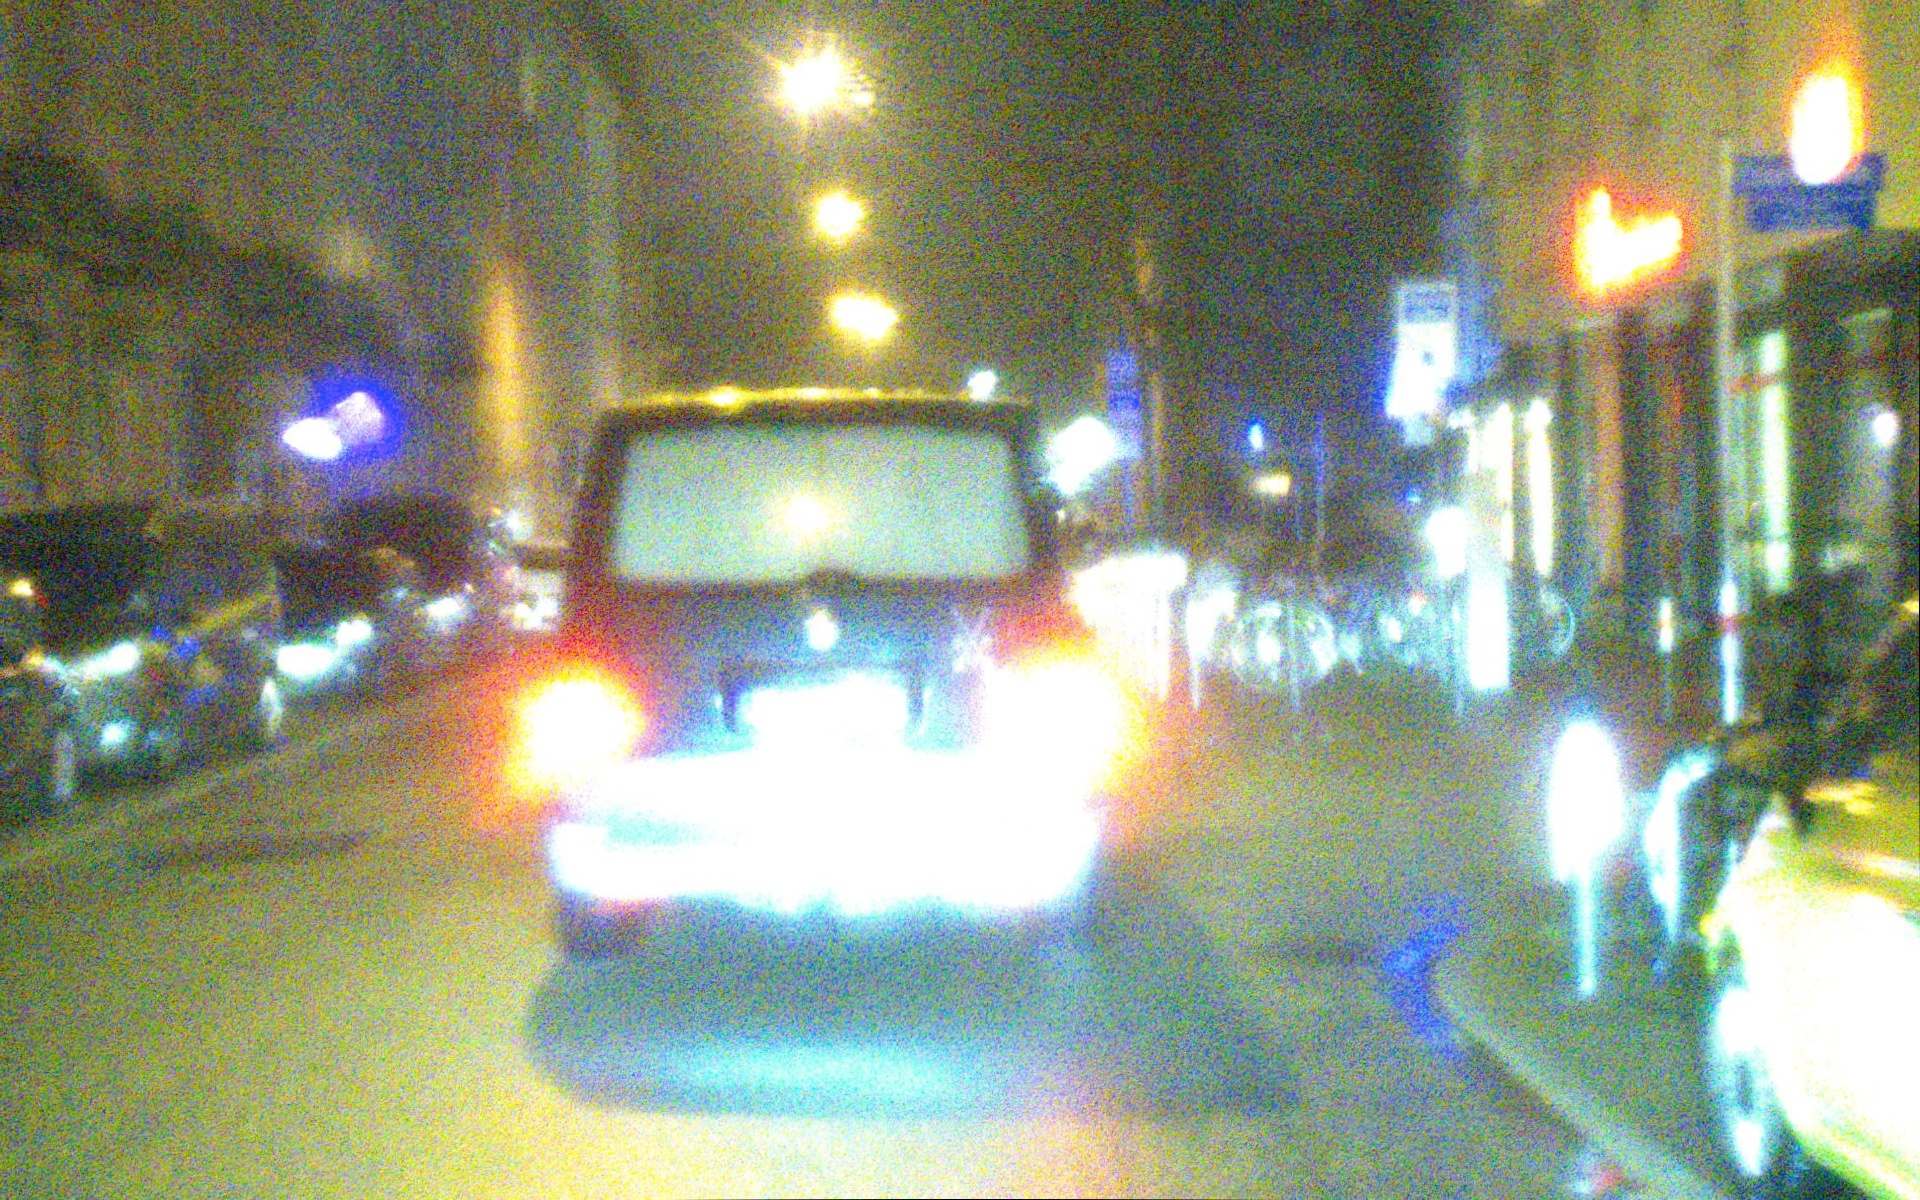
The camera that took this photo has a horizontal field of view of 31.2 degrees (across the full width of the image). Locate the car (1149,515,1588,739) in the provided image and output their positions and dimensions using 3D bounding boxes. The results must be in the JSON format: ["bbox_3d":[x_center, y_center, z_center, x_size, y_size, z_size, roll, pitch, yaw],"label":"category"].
[{"bbox_3d":[3.929,0.257,33.613,3.987,2.007,2.000,-2,0,0],"label":"car"}]

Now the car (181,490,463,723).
[{"bbox_3d":[-5.856,0.031,32.003,1.993,2.007,4.000,1,1,-2],"label":"car"}]

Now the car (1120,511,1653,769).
[{"bbox_3d":[3.610,0.320,29.332,3.986,2.007,2.000,-2,0,-17],"label":"car"}]

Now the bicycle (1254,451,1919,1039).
[{"bbox_3d":[2.180,0.427,10.723,2.321,1.633,0.888,-5,0,10],"label":"bicycle"}]

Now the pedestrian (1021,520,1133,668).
[{"bbox_3d":[1.352,-0.068,39.991,1.226,1.670,0.697,-2,0,0],"label":"pedestrian"}]

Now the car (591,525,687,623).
[{"bbox_3d":[-6.821,-0.563,73.313,1.749,2.007,4.000,1,1,-1],"label":"car"}]

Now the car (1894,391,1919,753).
[{"bbox_3d":[7.570,-0.143,17.822,4.809,1.915,2.130,0,1,-8],"label":"car"}]

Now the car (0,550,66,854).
[{"bbox_3d":[-5.537,0.483,15.665,1.993,1.444,4.000,1,1,-2],"label":"car"}]

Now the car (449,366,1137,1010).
[{"bbox_3d":[-0.637,0.221,13.013,2.122,1.984,4.601,-1,1,-3],"label":"car"}]

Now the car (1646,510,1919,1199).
[{"bbox_3d":[2.398,0.617,6.230,1.592,1.538,3.420,0,0,-1],"label":"car"}]

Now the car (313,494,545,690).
[{"bbox_3d":[-5.762,-0.108,37.748,1.993,2.007,4.000,1,1,-1],"label":"car"}]

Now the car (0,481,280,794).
[{"bbox_3d":[-5.791,0.189,22.551,1.993,1.856,4.095,1,1,-3],"label":"car"}]

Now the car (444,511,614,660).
[{"bbox_3d":[-6.111,-0.226,49.153,1.993,2.007,4.000,1,1,-1],"label":"car"}]
